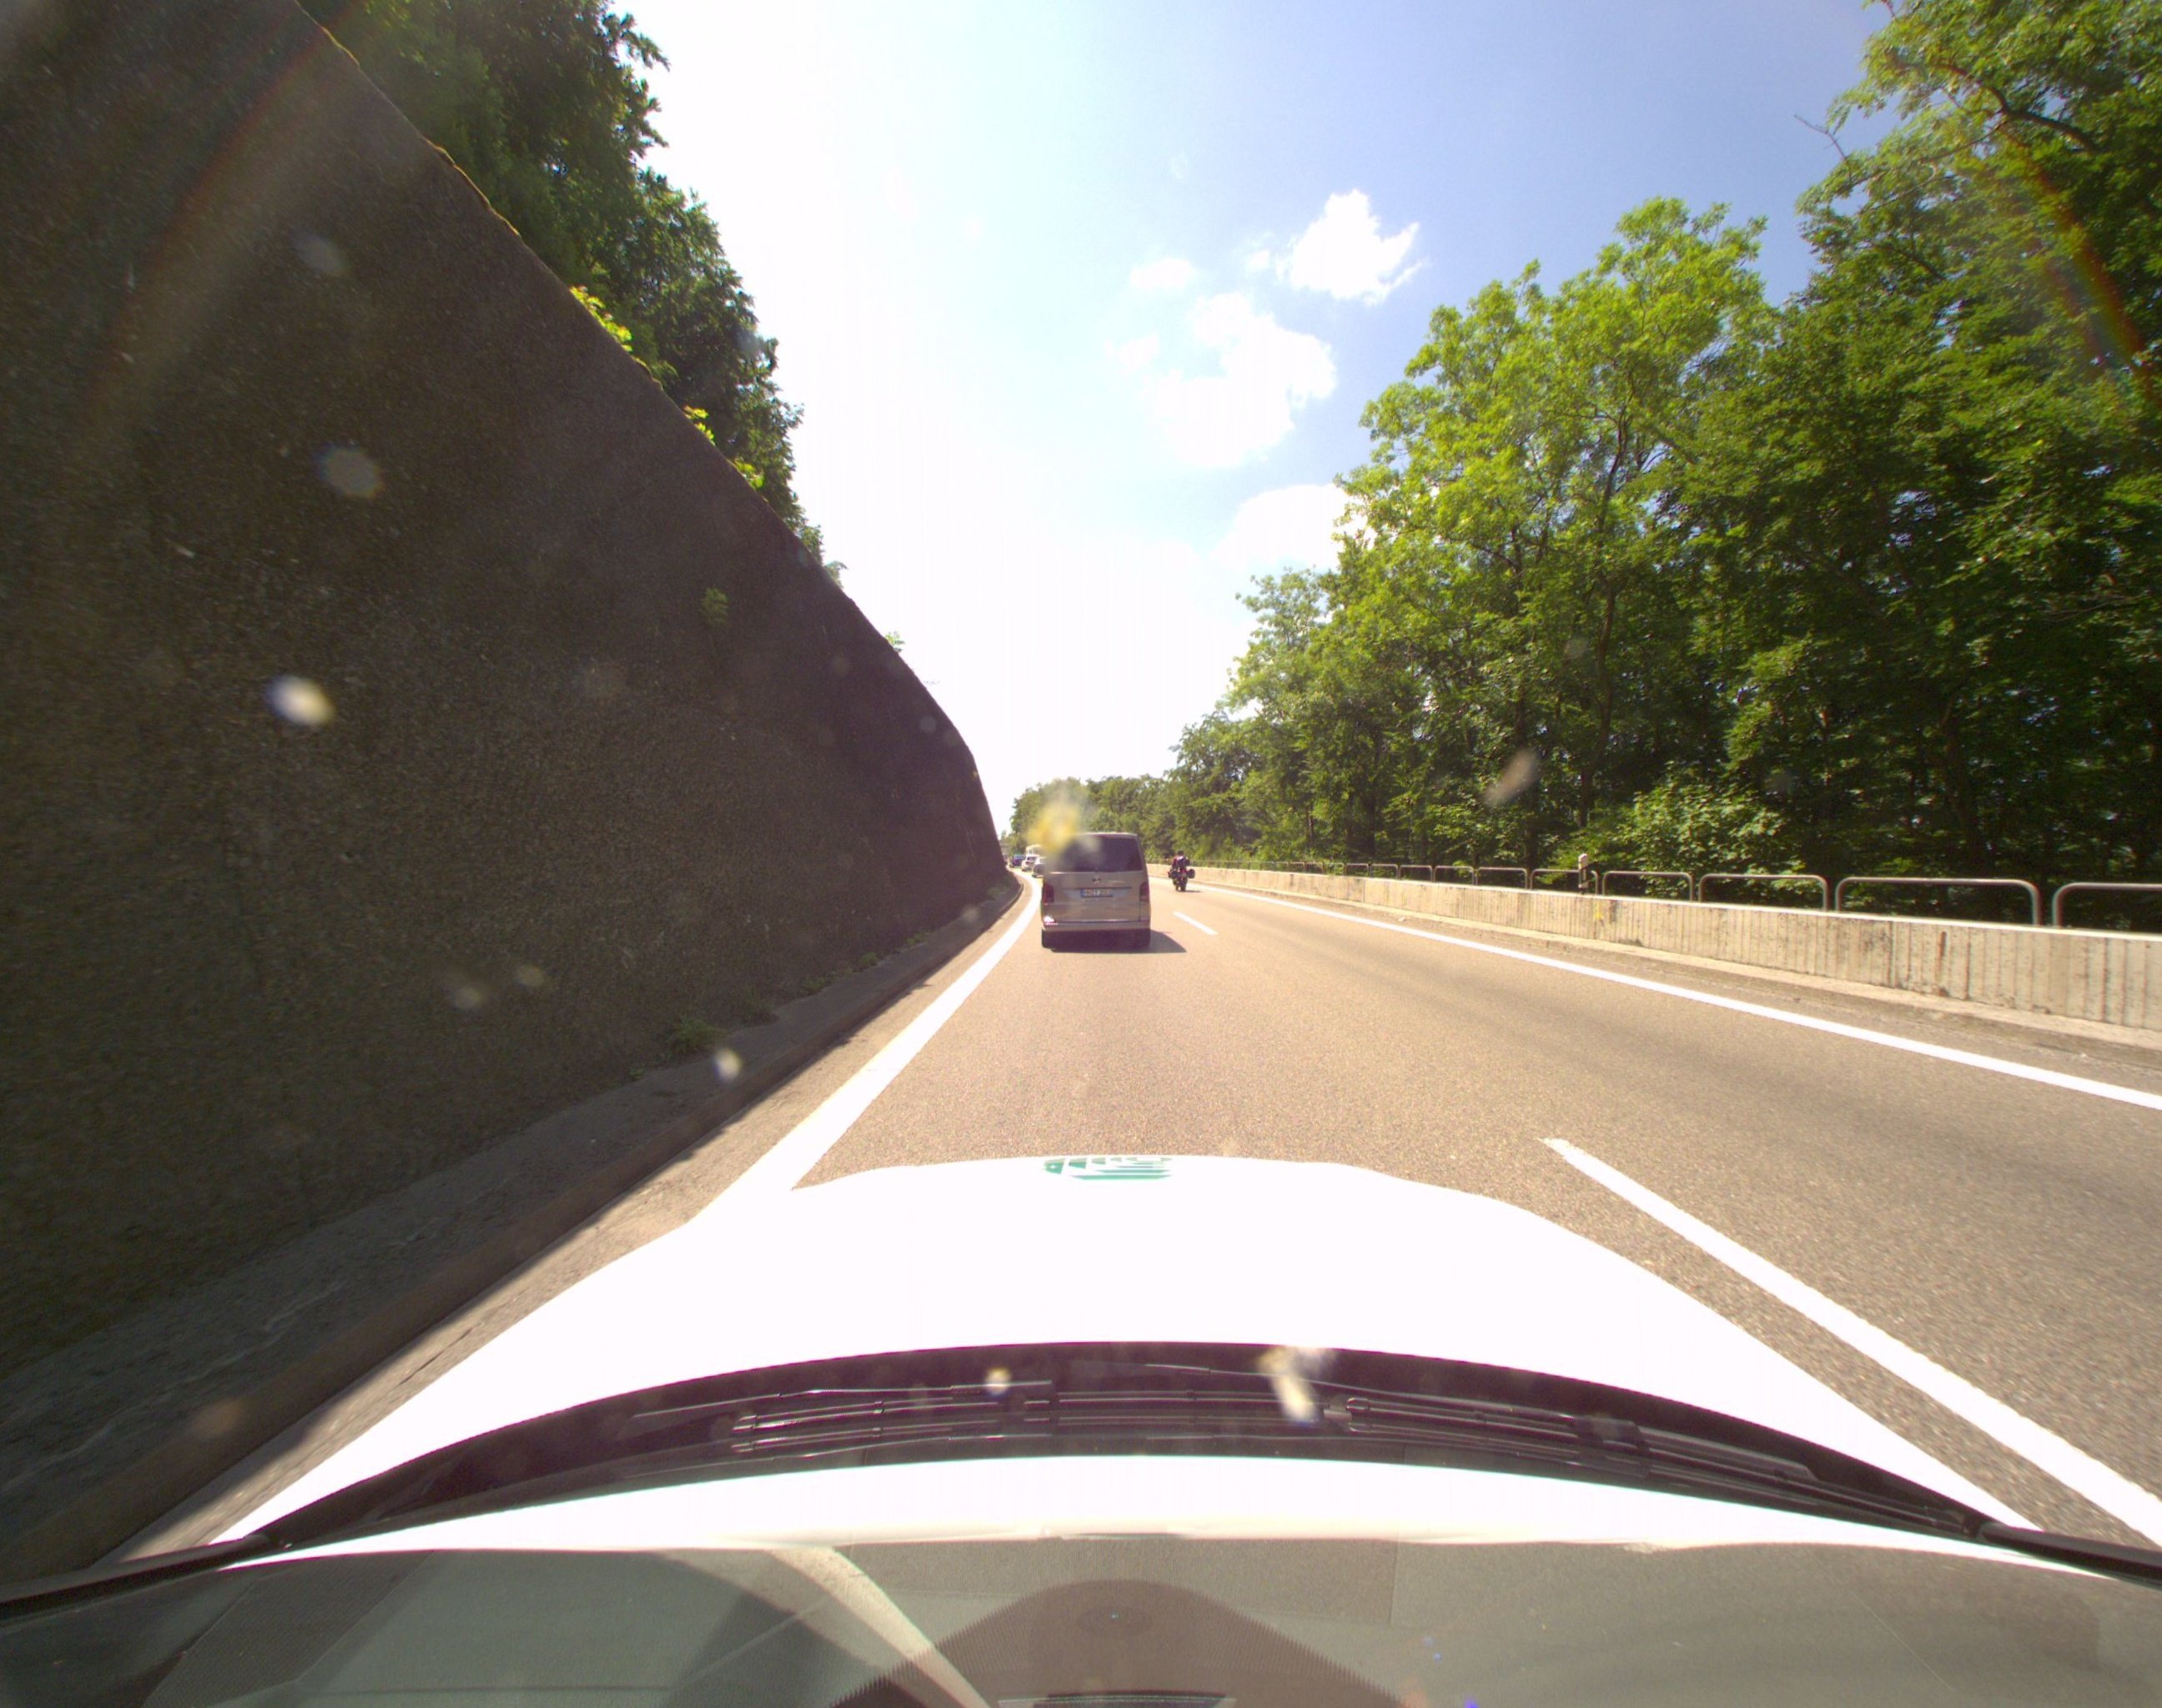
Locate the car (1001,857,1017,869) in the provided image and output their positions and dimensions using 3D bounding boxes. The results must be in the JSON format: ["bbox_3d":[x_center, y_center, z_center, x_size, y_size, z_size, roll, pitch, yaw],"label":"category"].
[{"bbox_3d":[-9.379,1.146,106.064,1.992,1.618,3.989,0,0,-8],"label":"car"}]

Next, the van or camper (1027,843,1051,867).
[{"bbox_3d":[-5.549,0.140,106.814,2.601,2.855,6.321,4,0,-7],"label":"van or camper"}]

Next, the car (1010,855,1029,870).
[{"bbox_3d":[-6.819,0.941,89.532,1.856,1.620,3.989,0,0,-8],"label":"car"}]

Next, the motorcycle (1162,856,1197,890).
[{"bbox_3d":[4.227,0.799,35.182,0.971,1.419,2.677,0,0,-4],"label":"motorcycle"}]

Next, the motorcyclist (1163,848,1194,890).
[{"bbox_3d":[4.207,0.646,35.304,1.059,1.800,1.335,0,0,-6],"label":"motorcyclist"}]

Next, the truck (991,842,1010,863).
[{"bbox_3d":[-14.678,-0.269,148.006,2.925,3.687,7.698,0,0,-9],"label":"truck"}]

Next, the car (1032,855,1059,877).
[{"bbox_3d":[-2.449,0.822,57.311,1.766,1.472,3.998,0,0,-1],"label":"car"}]

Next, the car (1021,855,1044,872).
[{"bbox_3d":[-4.477,0.859,74.897,1.861,1.486,3.990,0,0,-7],"label":"car"}]

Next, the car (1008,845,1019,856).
[{"bbox_3d":[-13.054,-0.634,157.384,1.992,2.014,3.989,0,0,-8],"label":"car"}]

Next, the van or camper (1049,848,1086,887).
[{"bbox_3d":[-0.771,0.699,43.313,1.849,1.942,4.161,0,0,-3],"label":"van or camper"}]

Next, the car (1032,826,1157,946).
[{"bbox_3d":[0.083,0.529,15.524,1.937,1.931,4.686,0,0,-5],"label":"car"}]
